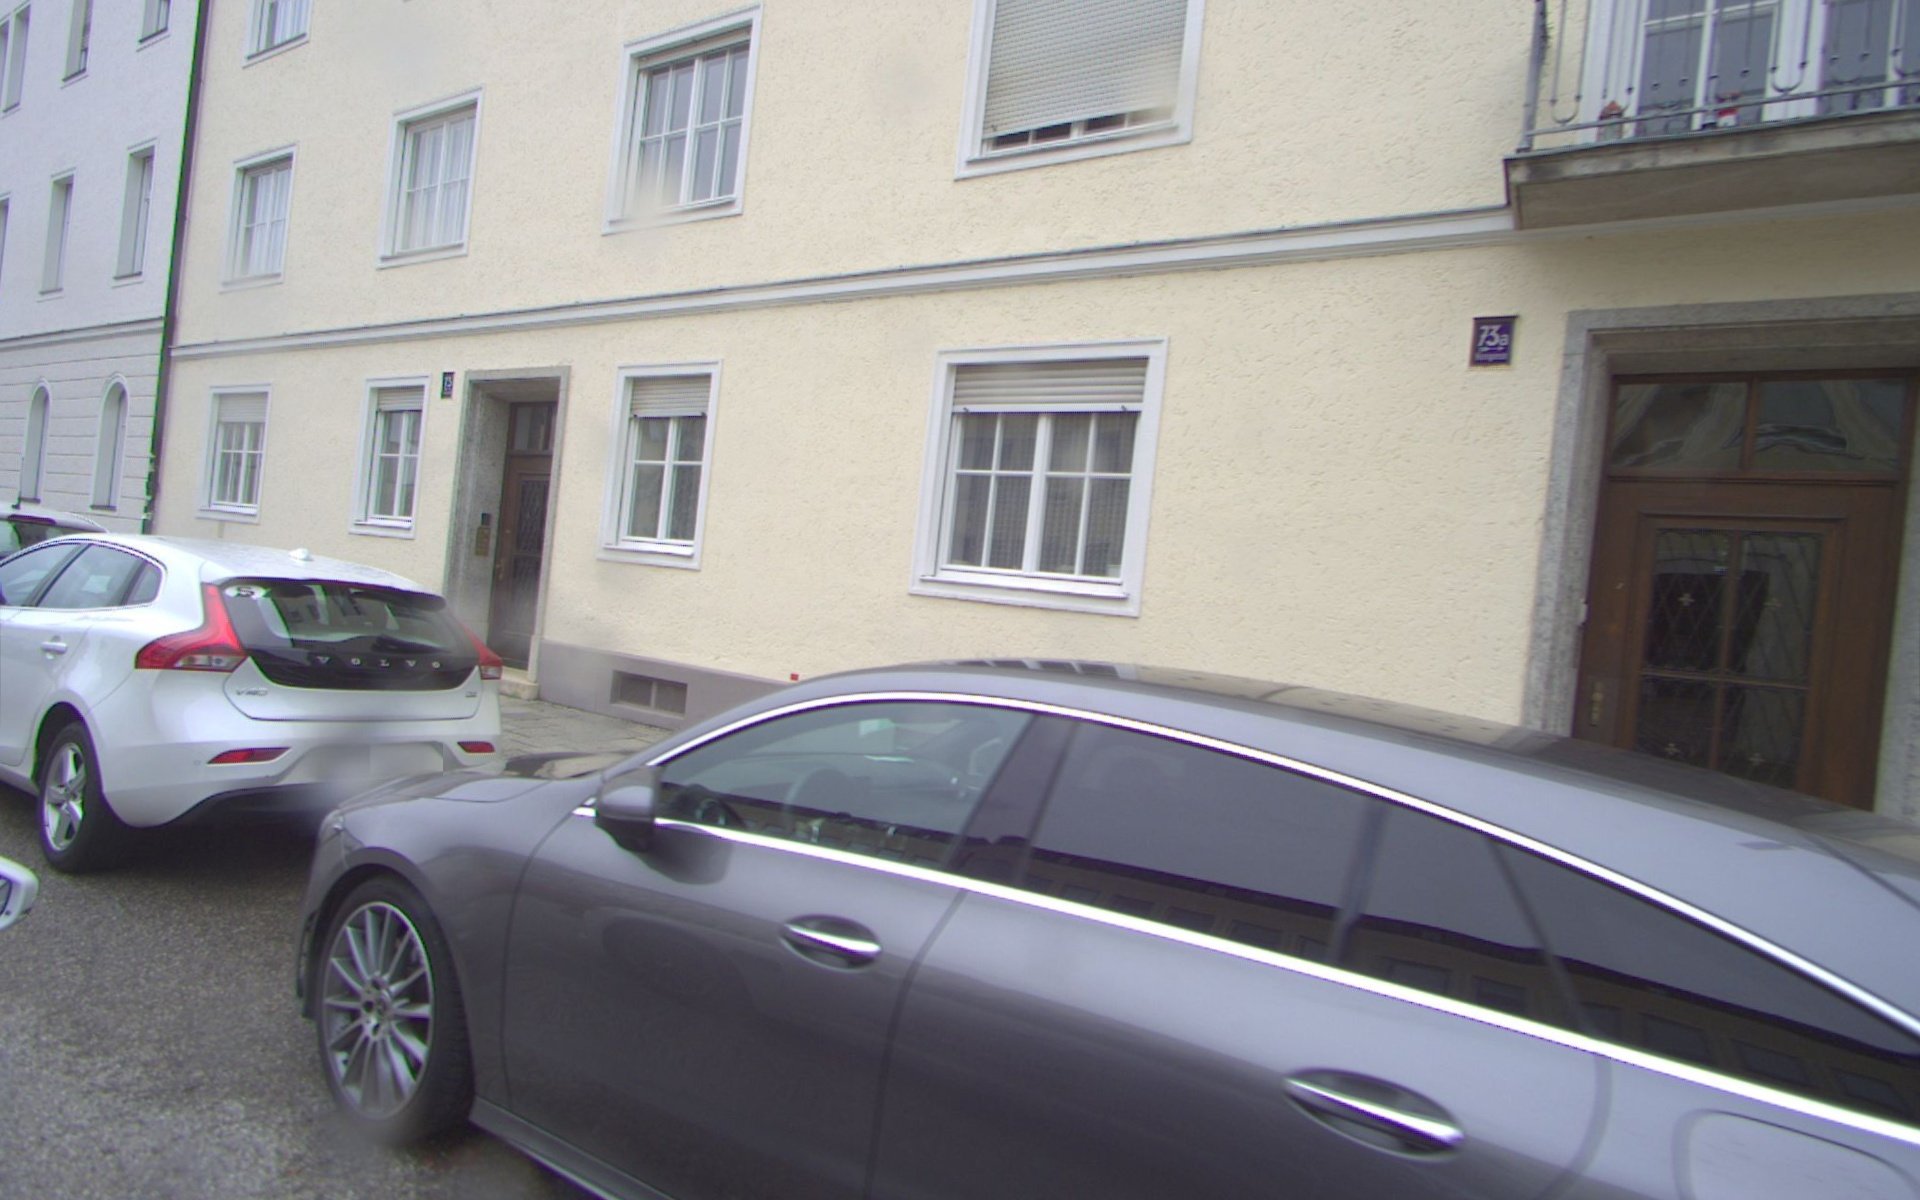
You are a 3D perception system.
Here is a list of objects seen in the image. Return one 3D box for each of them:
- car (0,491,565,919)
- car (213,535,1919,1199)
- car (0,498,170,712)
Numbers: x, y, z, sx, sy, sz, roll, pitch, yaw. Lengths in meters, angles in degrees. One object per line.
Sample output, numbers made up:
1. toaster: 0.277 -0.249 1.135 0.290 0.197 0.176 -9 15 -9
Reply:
1. car: -4.332 0.278 5.563 4.211 1.510 1.694 7 1 31
2. car: 0.090 0.777 2.605 4.271 1.510 1.694 5 0 31
3. car: -8.255 -0.127 8.160 3.735 1.510 1.601 7 0 31
